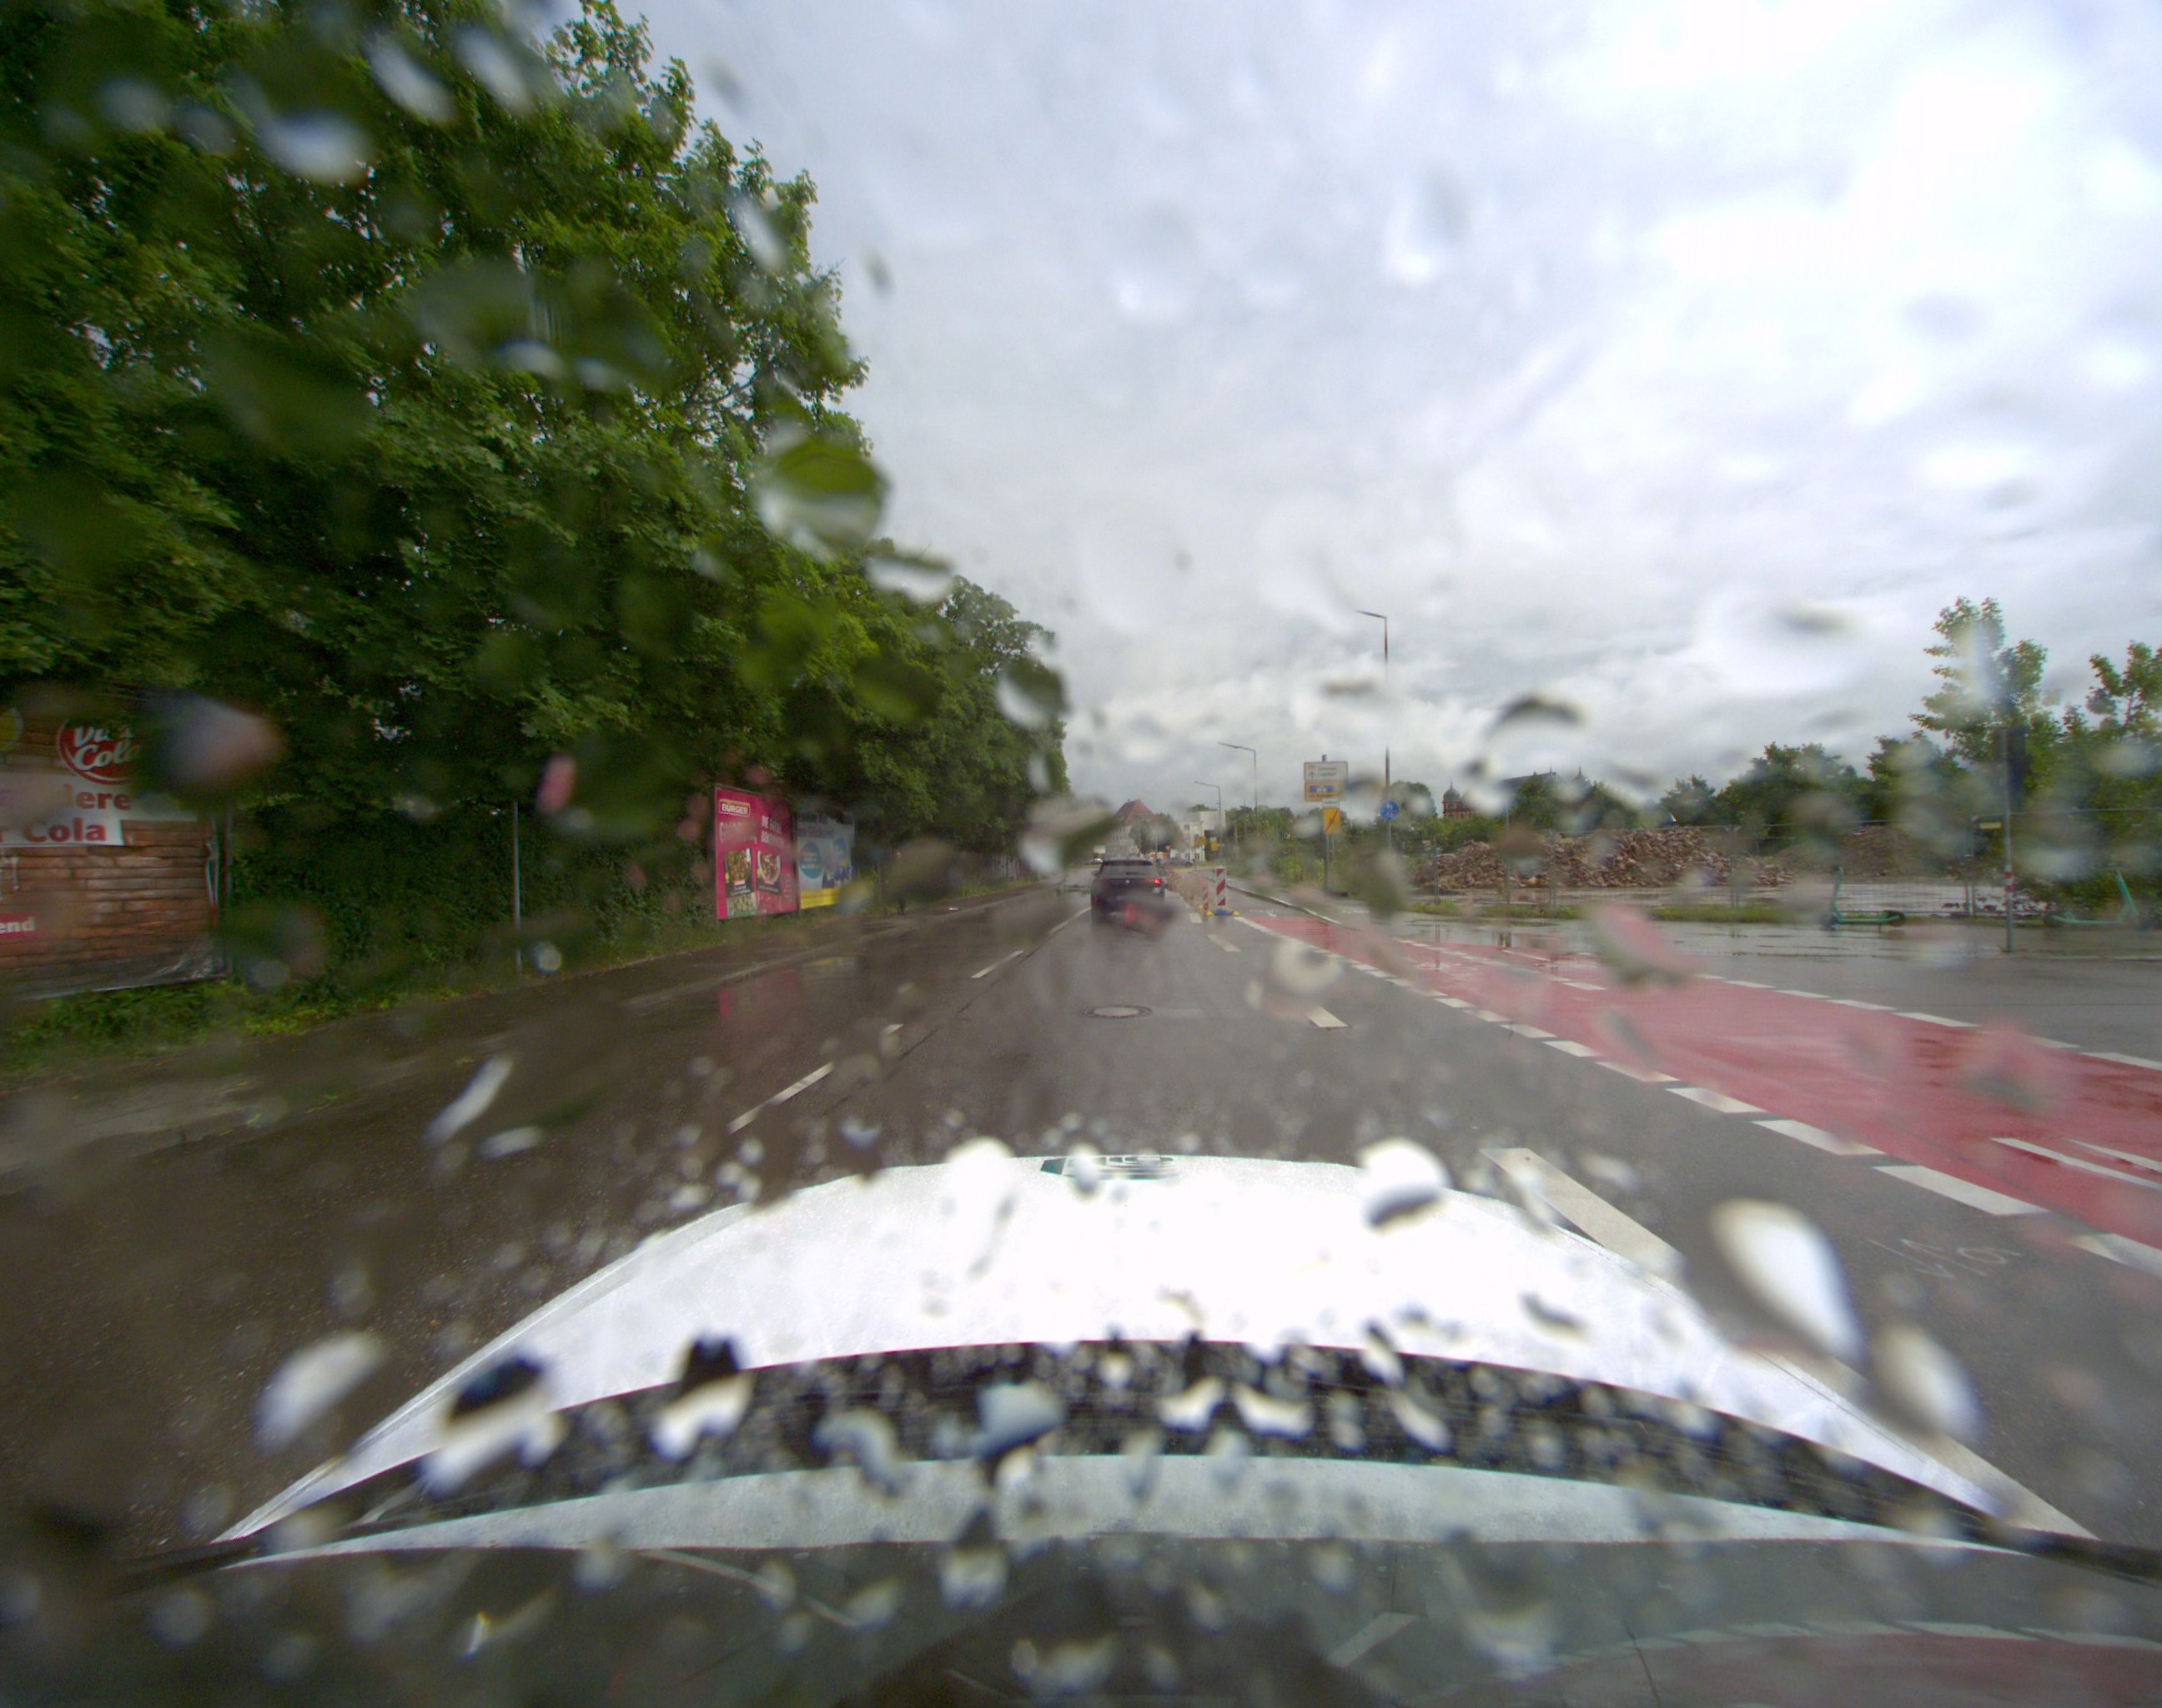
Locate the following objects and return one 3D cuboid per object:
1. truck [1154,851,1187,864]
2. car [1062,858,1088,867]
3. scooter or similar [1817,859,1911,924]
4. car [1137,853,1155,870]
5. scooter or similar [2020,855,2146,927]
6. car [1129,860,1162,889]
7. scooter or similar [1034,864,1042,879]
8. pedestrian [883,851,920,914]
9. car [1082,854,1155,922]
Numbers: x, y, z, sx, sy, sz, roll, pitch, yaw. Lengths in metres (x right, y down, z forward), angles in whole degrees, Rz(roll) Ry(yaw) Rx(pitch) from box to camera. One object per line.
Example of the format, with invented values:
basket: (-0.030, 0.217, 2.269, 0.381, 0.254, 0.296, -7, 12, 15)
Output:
truck: (19.224, 0.758, 175.502, 7.032, 2.650, 2.333, -1, 0, 5)
car: (-1.257, 1.752, 170.429, 5.155, 1.876, 1.873, -1, 0, -36)
scooter or similar: (14.500, 0.682, 15.110, 1.179, 1.150, 0.486, -2, -1, 38)
car: (7.462, 0.830, 93.593, 1.857, 1.809, 4.406, -1, 0, 2)
scooter or similar: (17.053, 0.619, 13.896, 1.179, 1.150, 0.752, -2, -1, 37)
car: (3.548, 1.124, 45.567, 1.728, 1.514, 3.606, -1, 0, 3)
scooter or similar: (-3.361, 1.394, 64.214, 0.560, 1.162, 1.207, -1, -1, -2)
pedestrian: (-5.151, 0.806, 23.388, 0.835, 1.769, 0.645, -2, -1, 4)
car: (0.958, 0.818, 21.016, 1.702, 1.574, 3.684, 0, -1, 2)
